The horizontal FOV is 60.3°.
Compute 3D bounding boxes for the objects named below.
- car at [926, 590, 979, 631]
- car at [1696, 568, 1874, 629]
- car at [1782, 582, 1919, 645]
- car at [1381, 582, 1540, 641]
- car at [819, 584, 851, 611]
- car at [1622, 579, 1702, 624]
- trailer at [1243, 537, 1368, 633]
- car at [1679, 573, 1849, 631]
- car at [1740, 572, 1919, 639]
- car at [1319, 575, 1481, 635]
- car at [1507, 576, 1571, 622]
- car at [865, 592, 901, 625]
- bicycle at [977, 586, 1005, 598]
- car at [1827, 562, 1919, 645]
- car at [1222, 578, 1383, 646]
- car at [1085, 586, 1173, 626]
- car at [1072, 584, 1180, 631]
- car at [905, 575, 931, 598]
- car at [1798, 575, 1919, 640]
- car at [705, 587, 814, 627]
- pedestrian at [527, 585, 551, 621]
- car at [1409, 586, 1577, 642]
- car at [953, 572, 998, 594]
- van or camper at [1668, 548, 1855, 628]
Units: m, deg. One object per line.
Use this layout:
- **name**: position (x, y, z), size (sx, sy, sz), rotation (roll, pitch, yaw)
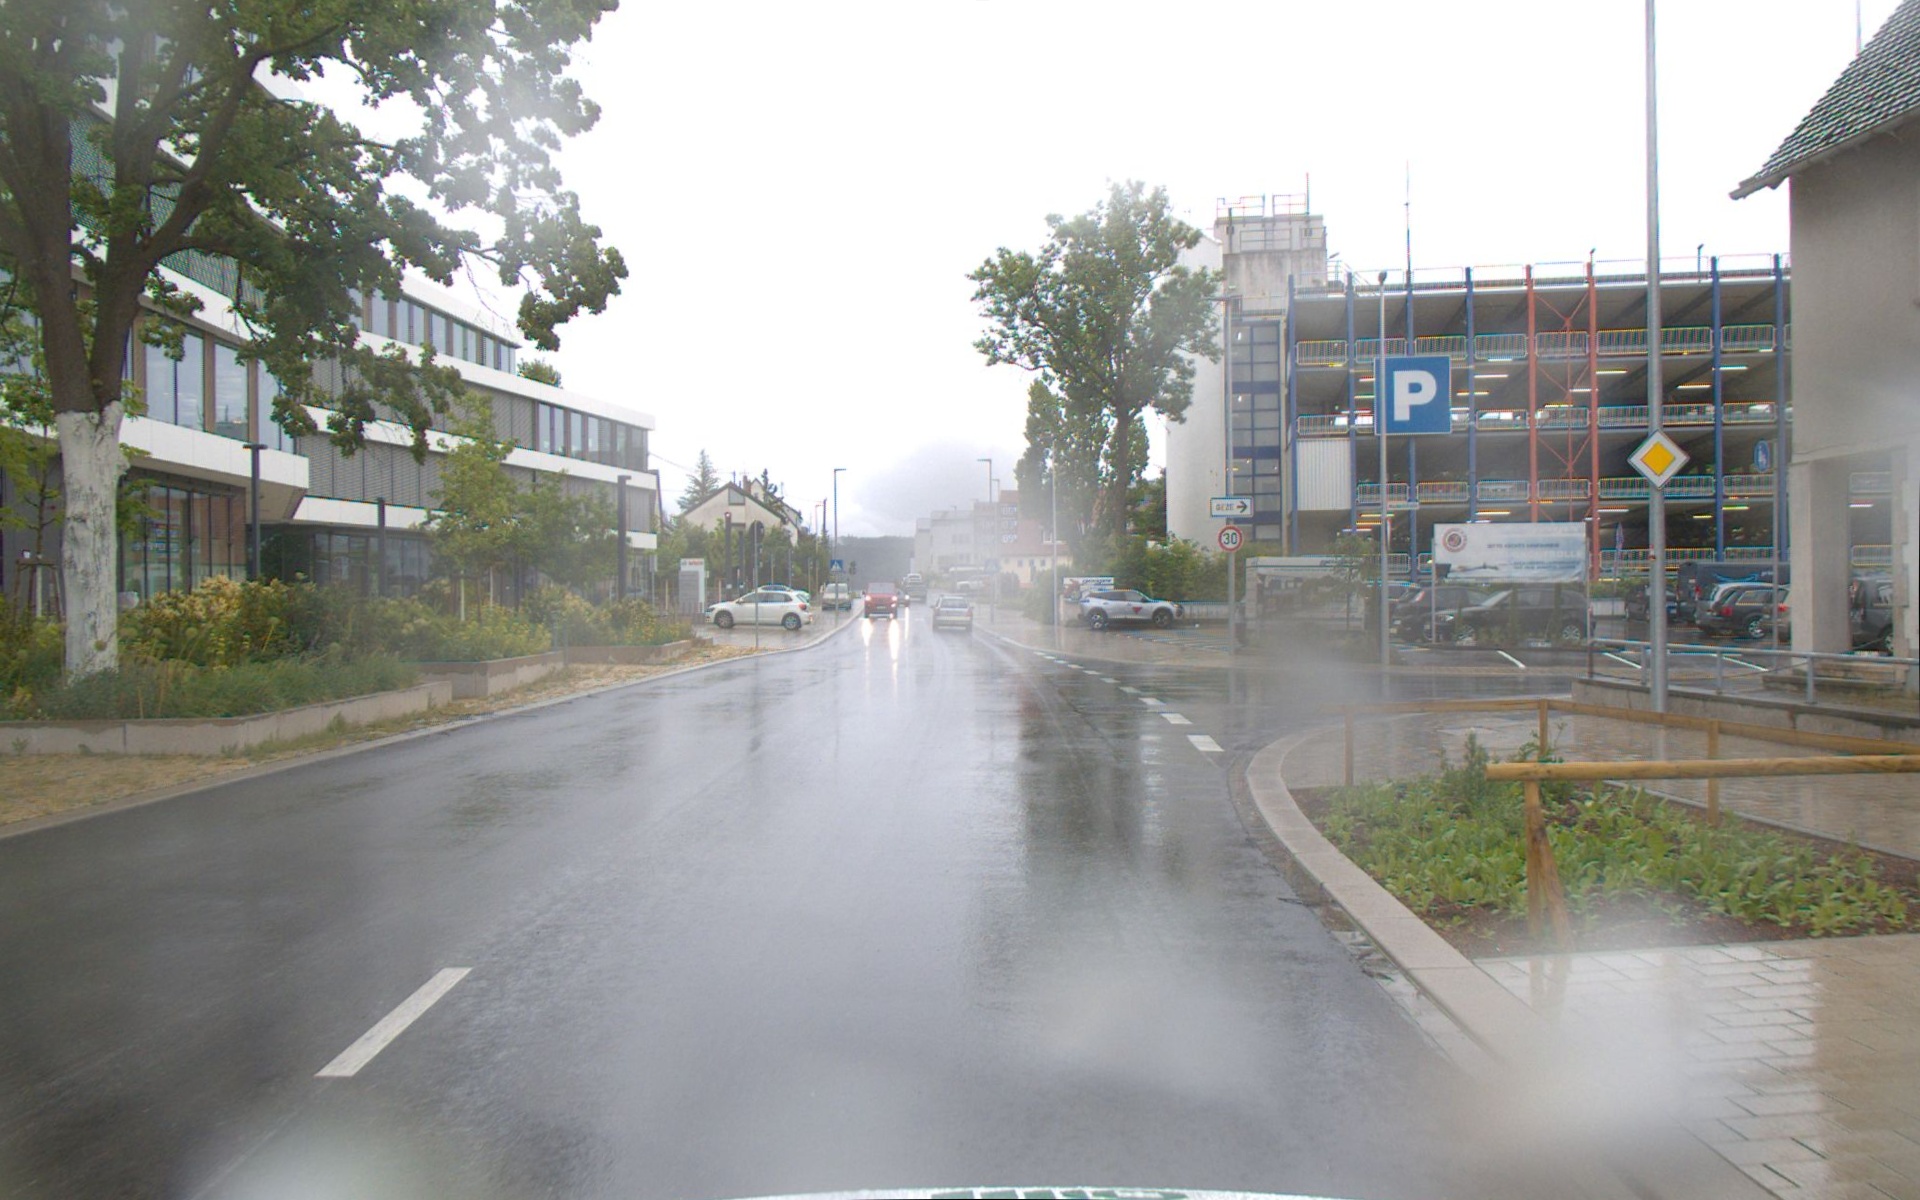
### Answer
- **car**: position (-0.356, 0.472, 70.755), size (1.910, 1.583, 3.996), rotation (3, -1, -5)
- **car**: position (24.074, -0.040, 48.400), size (4.262, 1.611, 1.866), rotation (-2, 0, 7)
- **car**: position (24.112, 0.341, 43.476), size (4.039, 1.523, 1.866), rotation (-2, 0, 7)
- **car**: position (13.245, 0.288, 43.903), size (3.653, 1.474, 1.729), rotation (-1, 0, -6)
- **car**: position (-8.086, -0.174, 107.289), size (1.953, 1.657, 4.151), rotation (-1, 1, -2)
- **car**: position (27.083, 0.087, 63.939), size (1.852, 1.512, 4.003), rotation (3, -1, 9)
- **trailer**: position (8.185, -0.350, 39.371), size (2.646, 2.209, 1.548), rotation (0, 0, 0)
- **car**: position (24.521, 0.069, 50.555), size (4.262, 1.611, 1.866), rotation (-2, 0, 7)
- **car**: position (24.052, 0.158, 45.755), size (4.039, 1.696, 1.866), rotation (-2, 0, 7)
- **car**: position (12.994, 0.137, 48.986), size (4.269, 1.680, 1.843), rotation (-1, 0, -5)
- **car**: position (22.748, -0.048, 65.080), size (1.693, 1.708, 4.004), rotation (-2, 1, 10)
- **car**: position (-4.377, 0.460, 93.893), size (1.963, 1.849, 4.976), rotation (0, 0, -3)
- **bicycle**: position (2.805, -0.730, 150.685), size (0.662, 1.085, 3.587), rotation (4, -2, -33)
- **car**: position (22.789, 0.035, 38.328), size (4.380, 1.860, 1.895), rotation (-2, 0, 14)
- **car**: position (8.628, 0.307, 41.842), size (3.651, 1.555, 1.649), rotation (-2, -1, -2)
- **car**: position (7.003, 0.235, 68.351), size (3.544, 1.520, 1.808), rotation (-1, 0, 7)
- **car**: position (6.615, 0.276, 65.641), size (4.118, 1.678, 2.002), rotation (-2, 0, 8)
- **car**: position (-3.634, -1.124, 141.491), size (2.111, 1.736, 3.998), rotation (3, -1, -2)
- **car**: position (23.271, 0.160, 41.050), size (4.039, 1.523, 1.867), rotation (-2, 0, 12)
- **car**: position (-7.491, 0.262, 62.084), size (3.848, 1.448, 1.897), rotation (0, 0, -2)
- **pedestrian**: position (-20.531, 0.130, 80.639), size (0.993, 1.754, 0.771), rotation (0, 0, -5)
- **car**: position (13.338, 0.342, 41.523), size (3.653, 1.338, 1.691), rotation (-1, 0, -6)
- **car**: position (1.473, -1.598, 157.249), size (4.033, 1.736, 1.786), rotation (3, -2, -6)
- **van or camper**: position (25.517, -0.371, 52.781), size (4.850, 2.366, 2.224), rotation (-2, 0, 5)
